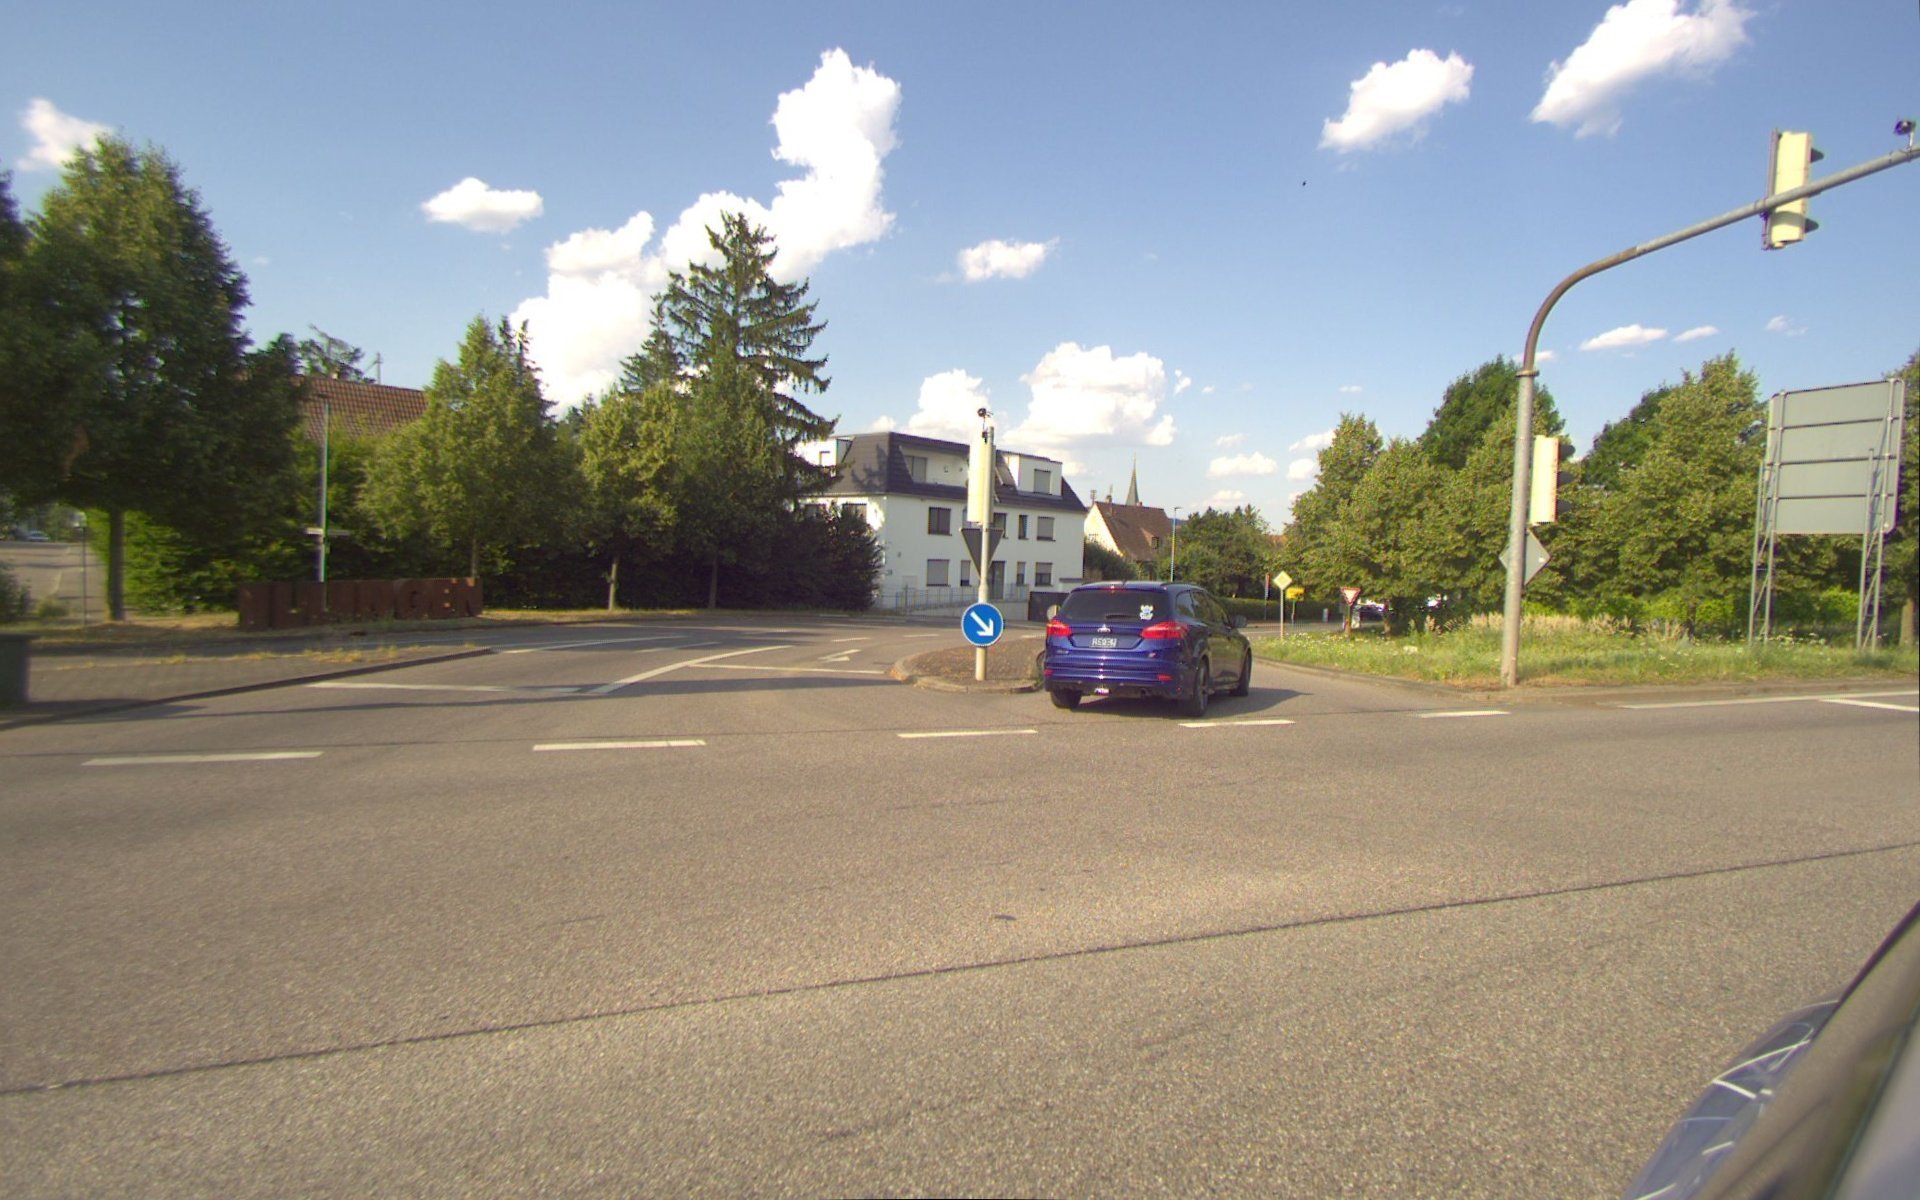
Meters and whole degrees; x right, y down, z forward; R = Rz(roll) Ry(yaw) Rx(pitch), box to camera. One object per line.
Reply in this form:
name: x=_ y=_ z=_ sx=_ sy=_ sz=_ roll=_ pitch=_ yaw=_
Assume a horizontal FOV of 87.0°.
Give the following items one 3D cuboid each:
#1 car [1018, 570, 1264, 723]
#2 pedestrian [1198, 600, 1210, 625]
car: x=2.388 y=0.414 z=12.367 sx=1.777 sy=1.516 sz=4.261 roll=0 pitch=1 yaw=28
pedestrian: x=17.484 y=0.878 z=72.608 sx=0.615 sy=1.750 sz=0.630 roll=0 pitch=1 yaw=39
